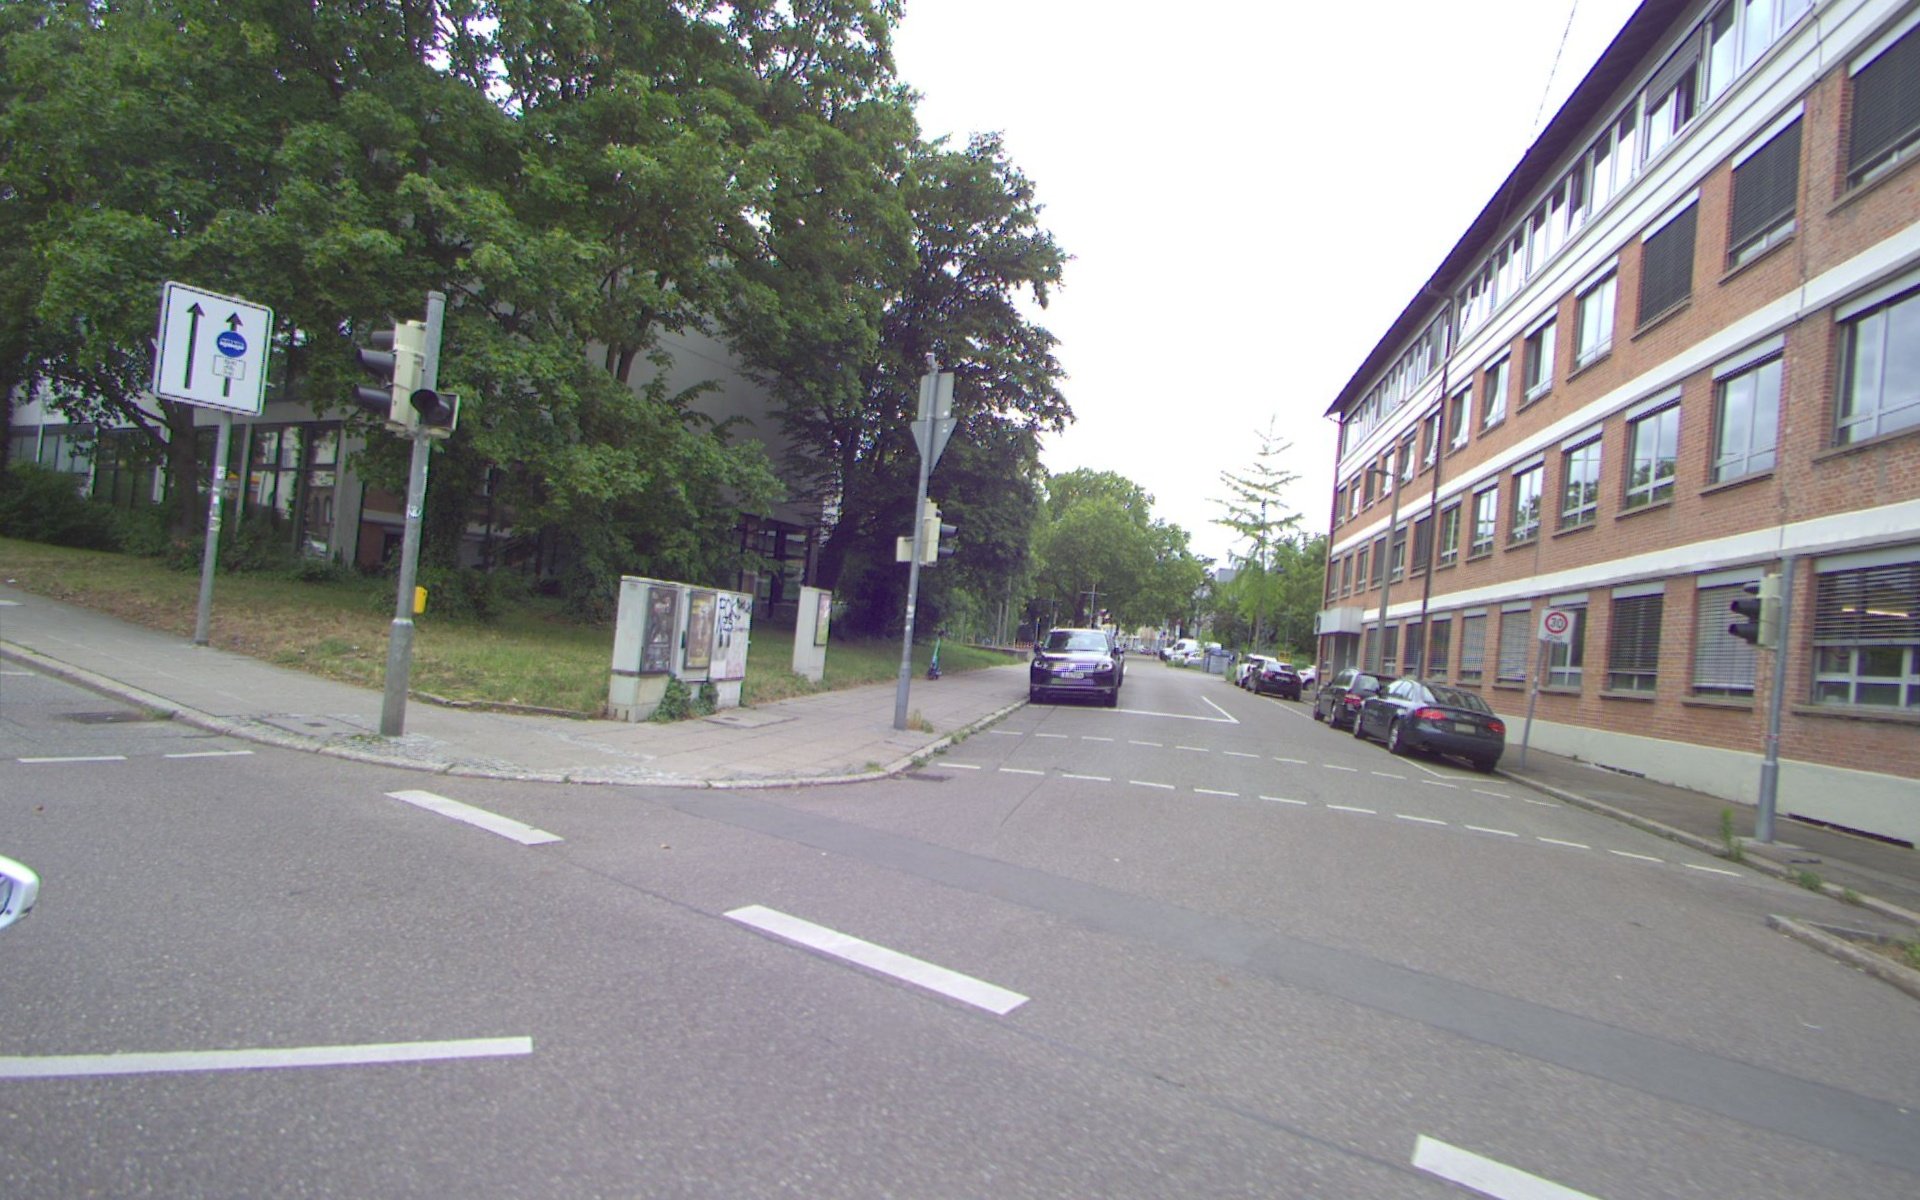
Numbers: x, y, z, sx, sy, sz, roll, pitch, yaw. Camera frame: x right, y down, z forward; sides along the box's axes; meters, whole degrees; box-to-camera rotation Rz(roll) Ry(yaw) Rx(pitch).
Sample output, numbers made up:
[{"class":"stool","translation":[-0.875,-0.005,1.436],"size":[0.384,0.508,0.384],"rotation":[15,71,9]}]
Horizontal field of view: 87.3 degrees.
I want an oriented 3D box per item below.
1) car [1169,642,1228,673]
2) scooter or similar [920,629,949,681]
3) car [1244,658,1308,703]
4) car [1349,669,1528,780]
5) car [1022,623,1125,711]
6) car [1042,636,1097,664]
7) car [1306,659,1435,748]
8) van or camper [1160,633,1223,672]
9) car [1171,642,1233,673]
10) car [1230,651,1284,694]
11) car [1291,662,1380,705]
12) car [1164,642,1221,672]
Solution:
[{"class":"car","translation":[18.801,4.518,79.426],"size":[4.181,1.567,1.937],"rotation":[10,0,7]},{"class":"scooter or similar","translation":[-0.622,1.368,25.122],"size":[0.335,1.245,1.105],"rotation":[7,0,11]},{"class":"car","translation":[12.802,3.216,40.939],"size":[1.688,1.337,4.263],"rotation":[10,0,9]},{"class":"car","translation":[9.021,2.268,19.404],"size":[1.740,1.422,4.423],"rotation":[10,0,9]},{"class":"car","translation":[2.738,1.471,23.252],"size":[1.927,1.748,4.660],"rotation":[2,-2,11]},{"class":"car","translation":[8.458,3.823,77.404],"size":[3.909,1.629,1.851],"rotation":[8,0,10]},{"class":"car","translation":[9.834,2.420,24.474],"size":[1.740,1.527,4.400],"rotation":[10,0,9]},{"class":"van or camper","translation":[20.980,4.729,91.331],"size":[5.037,2.570,1.938],"rotation":[10,1,10]},{"class":"car","translation":[18.468,4.360,76.960],"size":[4.181,1.567,1.937],"rotation":[10,0,7]},{"class":"car","translation":[13.913,3.351,47.317],"size":[1.688,1.566,4.263],"rotation":[10,0,9]},{"class":"car","translation":[21.155,4.692,56.880],"size":[4.181,1.567,1.937],"rotation":[10,0,7]},{"class":"car","translation":[18.928,4.627,82.040],"size":[4.181,1.567,1.937],"rotation":[10,0,7]}]
